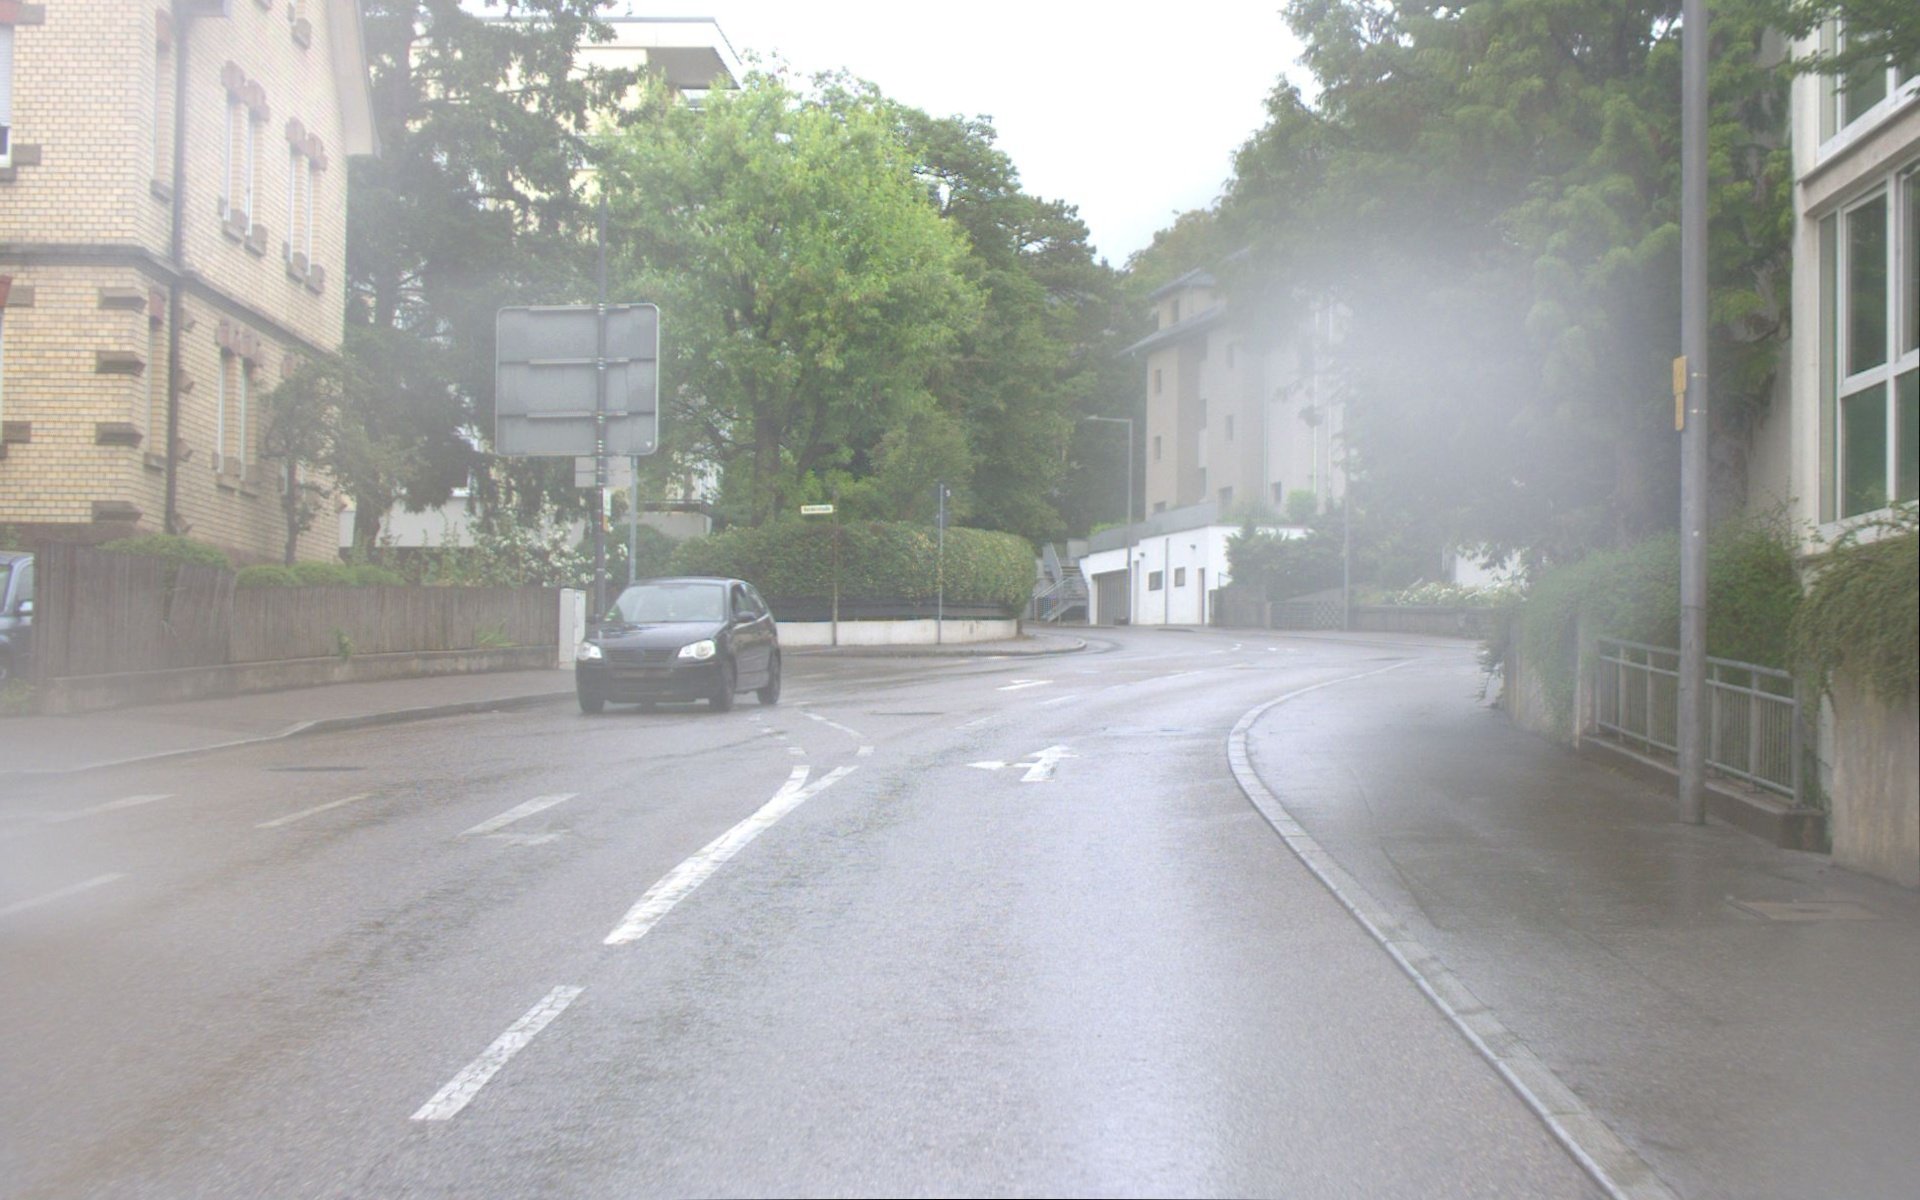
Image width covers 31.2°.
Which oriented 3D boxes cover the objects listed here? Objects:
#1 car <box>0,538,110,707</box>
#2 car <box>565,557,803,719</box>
[{"bbox_3d":[-9.489,0.167,32.444,1.771,1.498,3.882,2,1,3],"label":"car"},{"bbox_3d":[-2.968,0.397,37.743,1.745,1.566,3.812,4,0,7],"label":"car"}]
